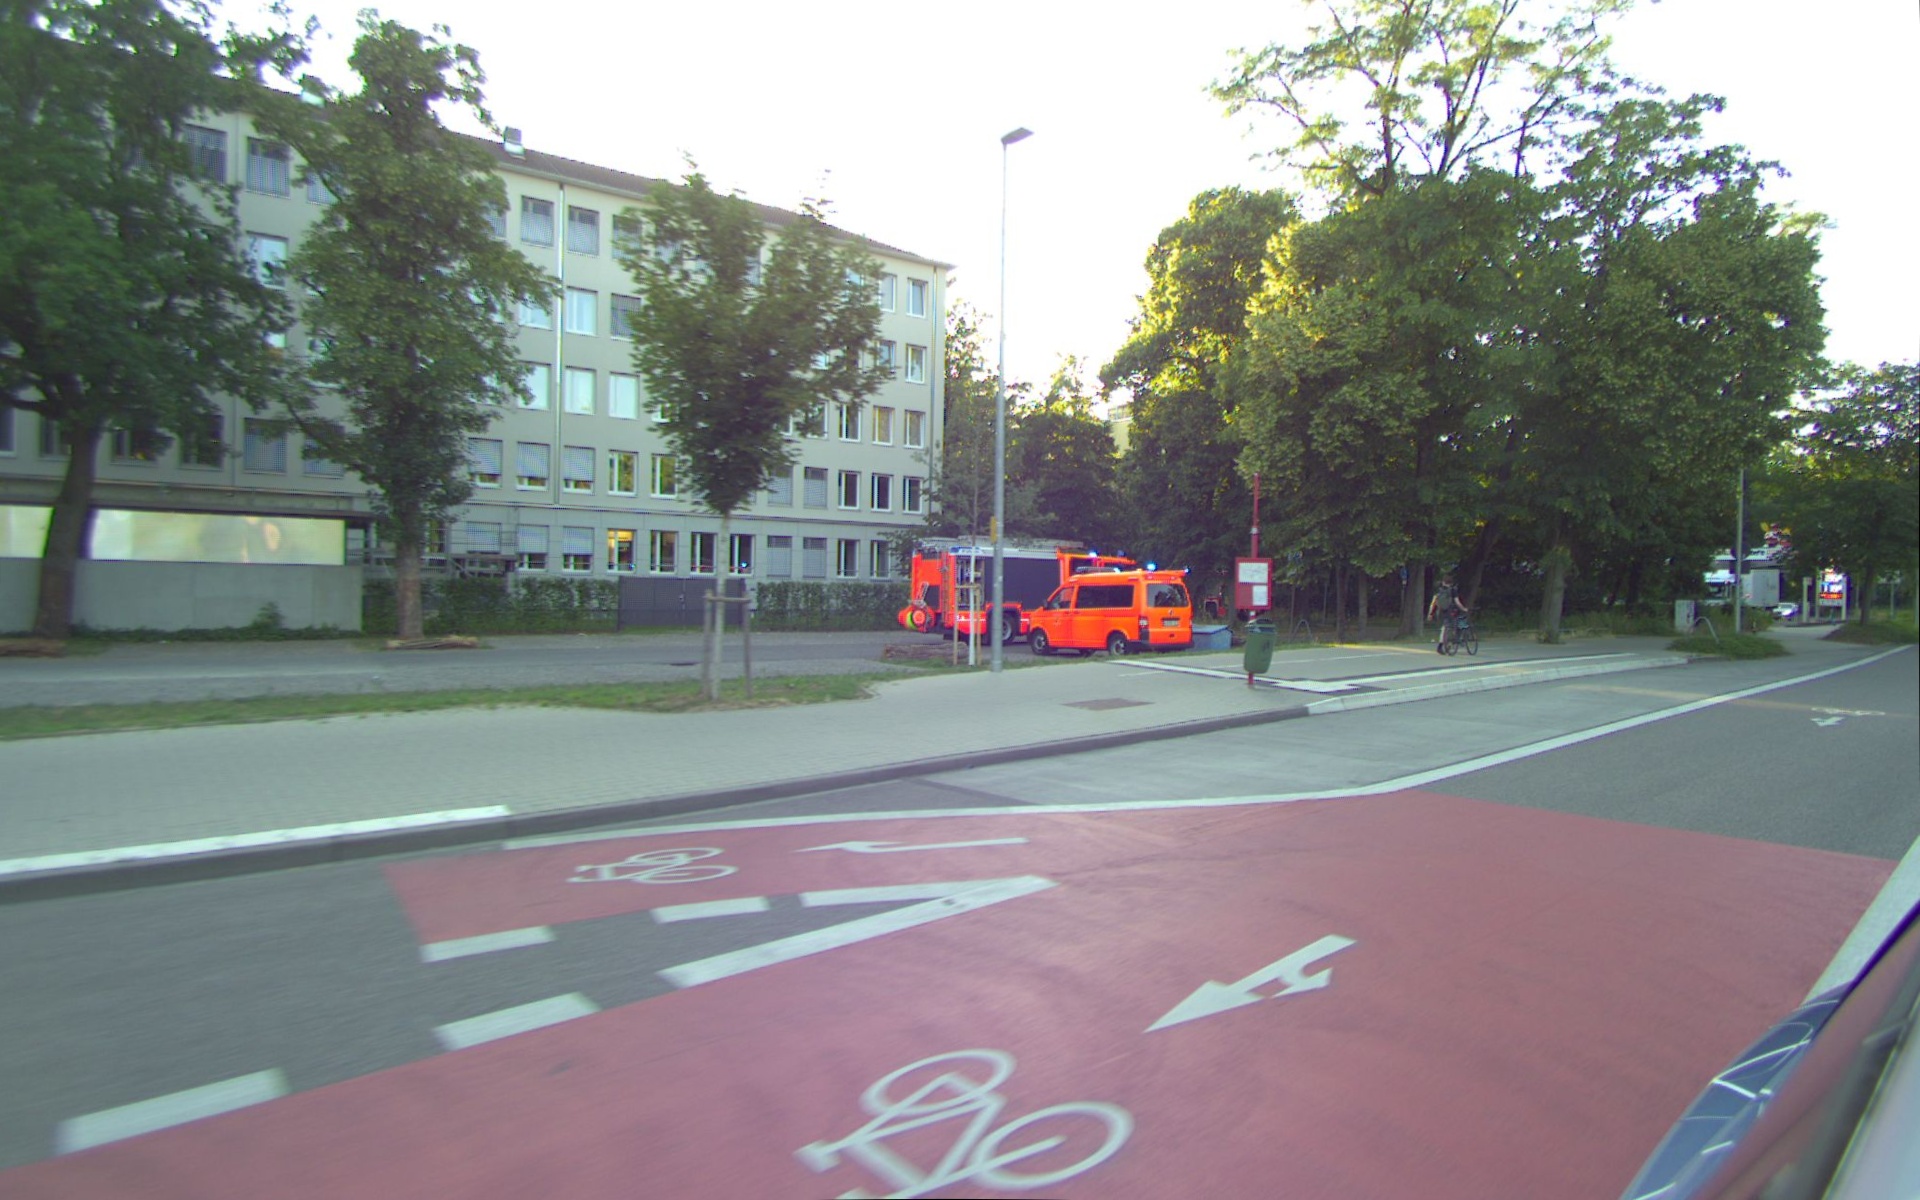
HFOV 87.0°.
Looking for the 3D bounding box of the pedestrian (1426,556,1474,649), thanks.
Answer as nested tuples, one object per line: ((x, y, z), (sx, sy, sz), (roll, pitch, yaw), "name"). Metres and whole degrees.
((11.010, 0.047, 22.739), (0.683, 2.039, 0.724), (0, 1, -42), "pedestrian")

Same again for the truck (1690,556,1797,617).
((53.733, -0.812, 69.095), (15.615, 3.776, 3.222), (0, 0, -43), "truck")

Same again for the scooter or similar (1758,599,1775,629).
((36.088, 0.634, 45.272), (0.482, 1.298, 1.122), (3, 2, 42), "scooter or similar")

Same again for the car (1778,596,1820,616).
((68.198, 0.496, 82.228), (4.630, 1.611, 1.996), (0, 0, -43), "car")

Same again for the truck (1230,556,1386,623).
((18.133, -0.571, 53.486), (2.703, 3.251, 8.682), (1, 1, -22), "truck")

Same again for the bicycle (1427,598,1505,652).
((11.390, 0.543, 22.762), (1.934, 1.111, 0.832), (0, 3, -41), "bicycle")

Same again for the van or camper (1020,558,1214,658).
((3.829, 0.174, 25.590), (2.250, 2.273, 4.832), (0, 0, -32), "van or camper")

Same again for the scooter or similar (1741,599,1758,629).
((34.765, 0.616, 44.559), (0.482, 1.298, 1.212), (3, 2, 42), "scooter or similar")

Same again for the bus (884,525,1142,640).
((1.771, -0.490, 31.836), (7.808, 3.236, 2.999), (0, 0, -32), "bus")
